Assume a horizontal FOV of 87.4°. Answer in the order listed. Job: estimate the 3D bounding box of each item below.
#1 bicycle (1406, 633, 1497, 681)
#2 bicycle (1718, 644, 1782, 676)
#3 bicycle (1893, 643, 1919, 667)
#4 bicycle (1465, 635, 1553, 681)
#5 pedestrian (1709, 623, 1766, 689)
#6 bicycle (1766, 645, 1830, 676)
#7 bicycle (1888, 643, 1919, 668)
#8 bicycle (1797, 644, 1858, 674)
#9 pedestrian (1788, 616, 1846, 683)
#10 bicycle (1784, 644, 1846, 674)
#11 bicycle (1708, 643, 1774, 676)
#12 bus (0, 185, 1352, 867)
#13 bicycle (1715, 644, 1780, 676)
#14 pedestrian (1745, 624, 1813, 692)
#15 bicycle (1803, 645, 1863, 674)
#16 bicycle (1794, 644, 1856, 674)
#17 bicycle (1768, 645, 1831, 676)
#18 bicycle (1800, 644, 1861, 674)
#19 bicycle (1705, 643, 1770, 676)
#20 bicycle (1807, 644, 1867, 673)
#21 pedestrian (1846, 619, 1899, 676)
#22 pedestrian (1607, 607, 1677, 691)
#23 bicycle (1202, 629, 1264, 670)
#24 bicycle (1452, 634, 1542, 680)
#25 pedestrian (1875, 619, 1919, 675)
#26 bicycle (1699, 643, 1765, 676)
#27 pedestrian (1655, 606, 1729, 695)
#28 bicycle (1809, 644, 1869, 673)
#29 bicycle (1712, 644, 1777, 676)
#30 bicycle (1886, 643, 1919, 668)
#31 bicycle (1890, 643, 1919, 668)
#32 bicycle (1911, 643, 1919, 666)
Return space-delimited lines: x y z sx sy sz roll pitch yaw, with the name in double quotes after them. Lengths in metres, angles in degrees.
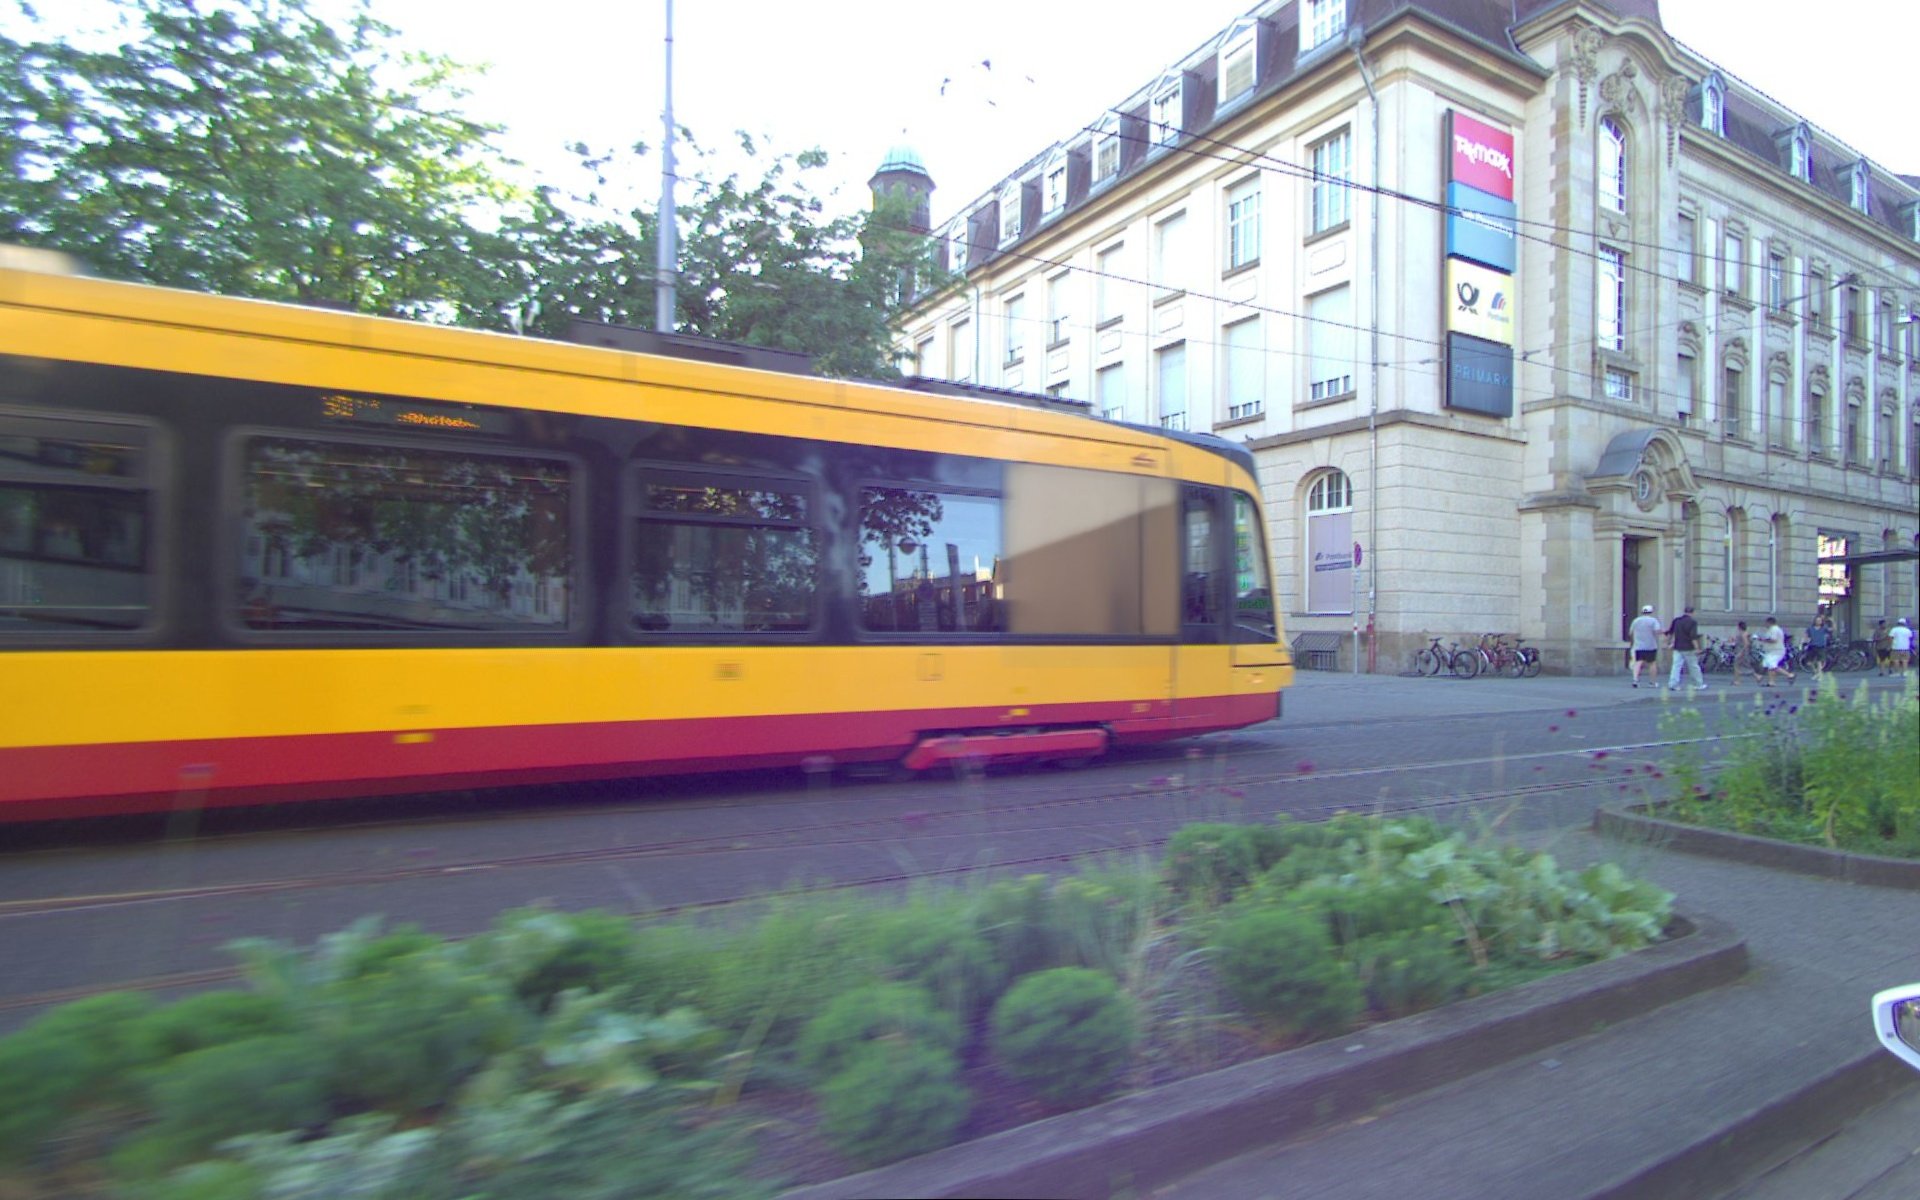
12.567 1.449 25.755 0.569 1.163 2.084 3 -3 -34 "bicycle"
25.199 1.901 32.060 0.356 0.961 1.569 4 -3 -41 "bicycle"
38.516 2.223 40.309 0.356 0.961 1.569 4 -3 -41 "bicycle"
14.827 1.542 27.175 0.569 1.163 2.064 3 -3 -34 "bicycle"
18.917 1.357 24.457 0.846 1.533 0.760 1 -2 14 "pedestrian"
27.443 1.979 32.918 0.356 0.961 1.569 4 -3 -41 "bicycle"
37.854 2.204 39.802 0.356 0.961 1.569 4 -3 -39 "bicycle"
29.910 2.029 34.638 0.356 0.961 1.569 4 -3 -41 "bicycle"
22.986 1.324 26.944 1.117 1.732 0.869 3 -2 -29 "pedestrian"
29.117 2.007 34.216 0.356 0.961 1.569 4 -3 -41 "bicycle"
24.248 1.851 31.211 0.356 0.961 1.569 4 -3 -41 "bicycle"
-1.502 -0.289 9.134 11.682 3.660 2.809 1 -1 -30 "bus"
24.901 1.882 31.778 0.356 0.961 1.569 4 -3 -41 "bicycle"
19.060 1.340 23.392 1.016 1.533 0.719 1 -2 14 "pedestrian"
30.602 2.066 35.216 0.356 0.961 1.569 4 -3 -41 "bicycle"
29.571 2.024 34.363 0.356 0.961 1.569 4 -3 -40 "bicycle"
27.764 1.995 33.225 0.356 0.961 1.569 3 -2 -41 "bicycle"
30.251 2.050 34.918 0.356 0.961 1.569 4 -3 -40 "bicycle"
23.945 1.823 30.951 0.356 0.961 1.569 3 -3 -41 "bicycle"
30.958 2.072 35.490 0.356 0.961 1.569 4 -3 -41 "bicycle"
28.866 1.505 31.787 0.866 1.742 0.875 2 -2 -6 "pedestrian"
15.286 1.096 22.523 0.893 1.809 0.961 3 -2 -24 "pedestrian"
8.085 1.444 29.698 2.083 1.163 0.569 1 -1 -35 "bicycle"
14.291 1.508 26.785 0.569 1.163 2.084 3 -3 -34 "bicycle"
28.786 1.448 30.715 0.861 1.675 0.879 2 -2 -16 "pedestrian"
23.514 1.796 30.626 0.356 0.961 1.569 2 -2 -41 "bicycle"
15.583 1.066 21.404 0.893 1.834 0.961 3 -2 -24 "pedestrian"
31.296 2.073 35.785 0.356 0.961 1.569 4 -3 -41 "bicycle"
24.590 1.869 31.506 0.356 0.961 1.569 4 -3 -41 "bicycle"
37.508 2.186 39.509 0.356 0.961 1.569 4 -3 -41 "bicycle"
38.175 2.212 40.040 0.356 0.961 1.569 4 -3 -41 "bicycle"
39.978 2.242 41.057 0.356 0.961 1.569 4 -3 -41 "bicycle"
